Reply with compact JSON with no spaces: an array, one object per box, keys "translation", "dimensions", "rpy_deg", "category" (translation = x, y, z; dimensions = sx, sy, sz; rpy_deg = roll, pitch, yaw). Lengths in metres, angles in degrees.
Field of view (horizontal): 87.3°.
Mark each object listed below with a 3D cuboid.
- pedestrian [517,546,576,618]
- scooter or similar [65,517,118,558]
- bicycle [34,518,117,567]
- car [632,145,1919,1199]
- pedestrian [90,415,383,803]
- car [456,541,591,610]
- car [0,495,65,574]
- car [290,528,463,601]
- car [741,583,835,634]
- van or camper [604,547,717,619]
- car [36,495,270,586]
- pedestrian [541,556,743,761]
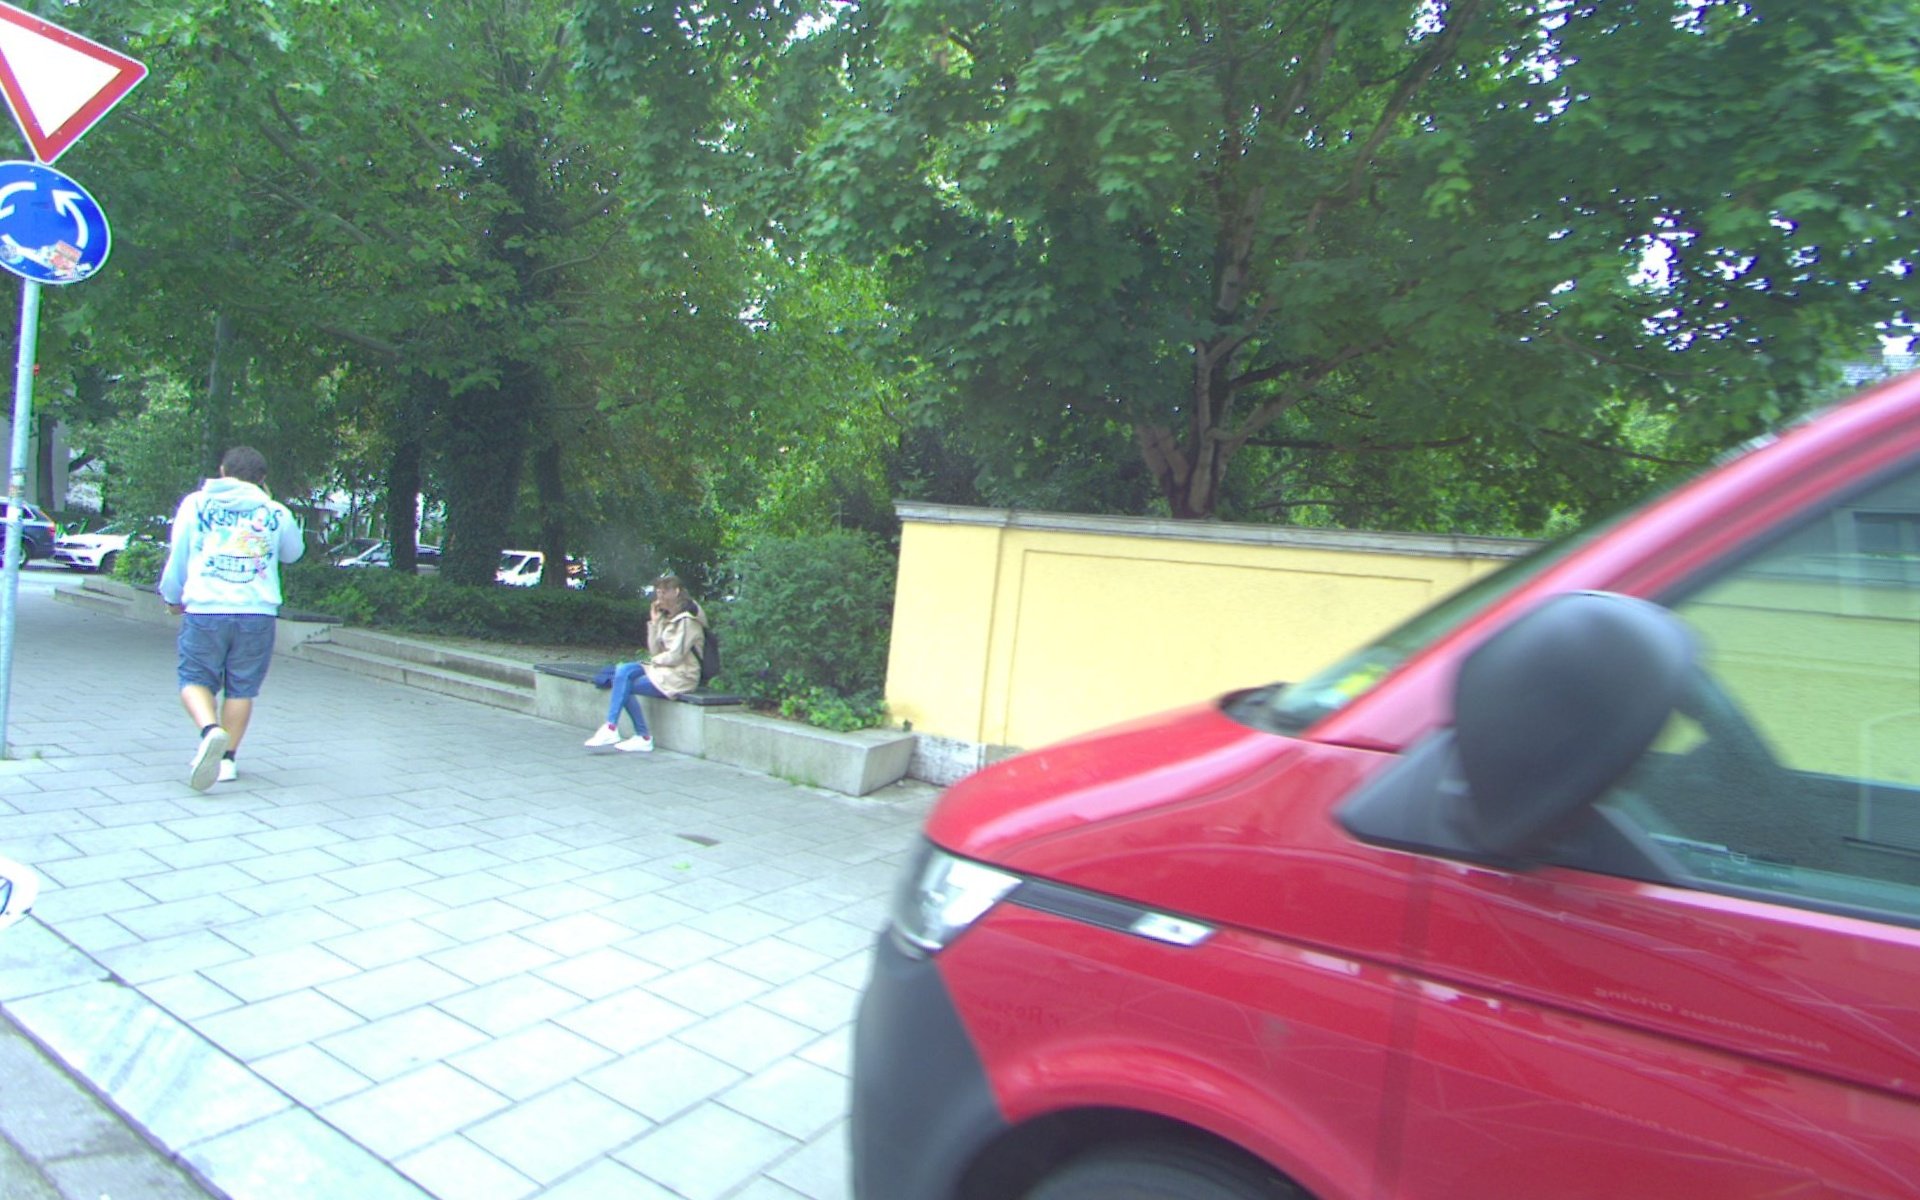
[{"translation":[-11.378,-0.487,27.720],"dimensions":[0.860,1.854,1.051],"rpy_deg":[6,0,21],"category":"pedestrian"},{"translation":[-29.163,-2.087,33.791],"dimensions":[0.393,1.208,1.214],"rpy_deg":[6,0,26],"category":"scooter or similar"},{"translation":[-25.204,-1.636,28.683],"dimensions":[1.796,1.163,0.537],"rpy_deg":[7,1,0],"category":"bicycle"},{"translation":[2.031,0.690,1.345],"dimensions":[4.805,1.943,1.878],"rpy_deg":[6,-1,30],"category":"car"},{"translation":[-3.808,0.036,5.299],"dimensions":[1.036,1.793,0.873],"rpy_deg":[6,1,38],"category":"pedestrian"},{"translation":[-18.005,-0.938,41.854],"dimensions":[1.917,2.300,5.244],"rpy_deg":[5,-1,20],"category":"car"},{"translation":[-24.753,-1.799,23.800],"dimensions":[1.964,1.813,4.912],"rpy_deg":[5,-1,23],"category":"car"},{"translation":[-20.259,-1.176,35.243],"dimensions":[1.858,1.956,5.210],"rpy_deg":[5,-1,18],"category":"car"},{"translation":[-7.537,0.437,44.602],"dimensions":[1.960,1.861,4.714],"rpy_deg":[5,-1,20],"category":"car"},{"translation":[-14.790,-0.759,50.202],"dimensions":[1.970,2.980,6.011],"rpy_deg":[5,-1,20],"category":"van or camper"},{"translation":[-22.842,-1.606,28.755],"dimensions":[1.802,1.941,4.848],"rpy_deg":[5,-1,22],"category":"car"},{"translation":[-2.362,0.427,7.528],"dimensions":[0.863,1.355,1.010],"rpy_deg":[6,0,34],"category":"pedestrian"}]
